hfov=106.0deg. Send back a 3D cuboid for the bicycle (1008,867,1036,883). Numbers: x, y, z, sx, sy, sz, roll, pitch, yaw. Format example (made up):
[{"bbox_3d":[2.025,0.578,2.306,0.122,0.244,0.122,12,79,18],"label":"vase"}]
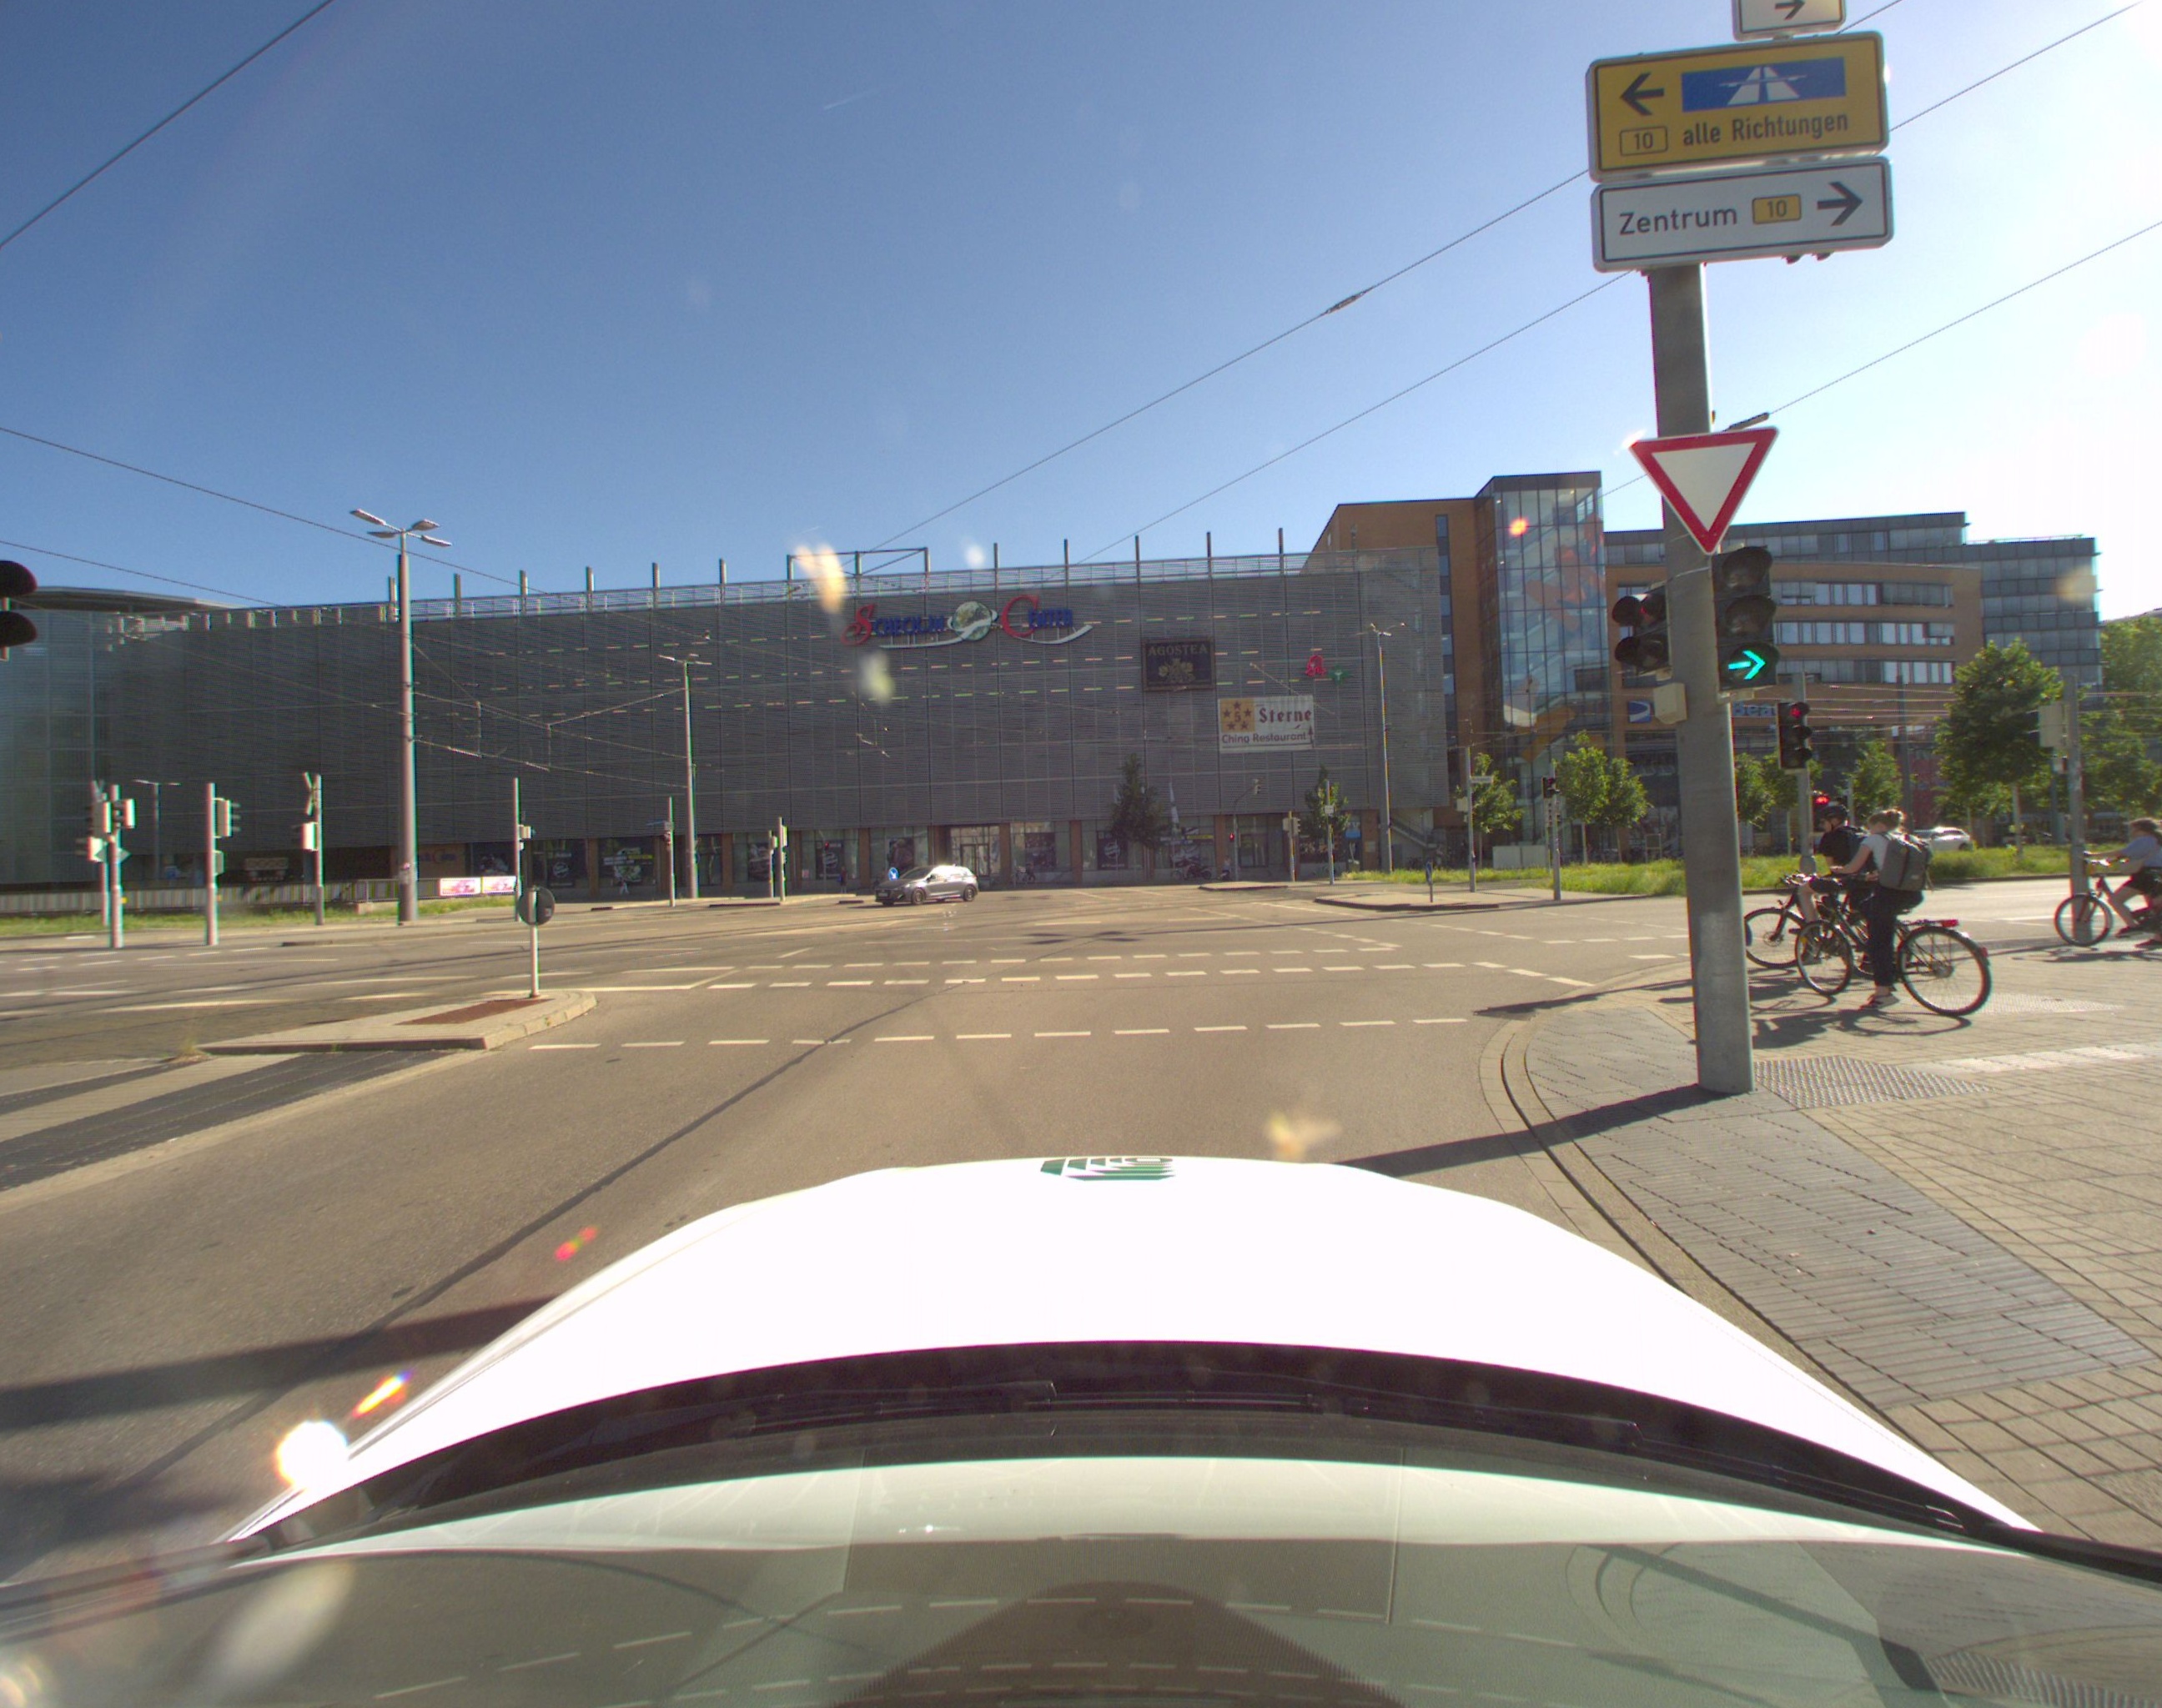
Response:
[{"bbox_3d":[-4.194,1.502,57.741,1.940,1.038,0.572,-2,-1,-3],"label":"bicycle"}]

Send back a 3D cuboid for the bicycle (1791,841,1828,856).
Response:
[{"bbox_3d":[55.371,-0.429,61.953,0.749,1.123,2.177,-2,0,-3],"label":"bicycle"}]

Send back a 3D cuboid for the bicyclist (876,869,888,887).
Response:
[{"bbox_3d":[-12.756,1.512,52.174,0.565,1.139,0.554,-1,-1,-31],"label":"bicyclist"}]

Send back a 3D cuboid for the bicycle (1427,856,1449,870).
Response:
[{"bbox_3d":[25.429,0.631,58.039,0.490,0.954,2.177,-2,0,-3],"label":"bicycle"}]

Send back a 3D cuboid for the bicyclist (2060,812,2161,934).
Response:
[{"bbox_3d":[12.652,0.219,9.823,0.586,1.404,0.827,-3,-2,1],"label":"bicyclist"}]

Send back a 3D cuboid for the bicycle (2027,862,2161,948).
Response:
[{"bbox_3d":[12.644,0.590,9.719,0.692,0.954,1.708,-3,-2,2],"label":"bicycle"}]

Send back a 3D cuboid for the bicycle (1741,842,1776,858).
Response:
[{"bbox_3d":[51.293,-0.294,61.708,0.749,1.123,2.177,-2,0,-3],"label":"bicycle"}]

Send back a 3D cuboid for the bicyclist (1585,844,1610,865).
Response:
[{"bbox_3d":[35.287,0.029,55.672,1.303,1.407,0.594,-2,-1,3],"label":"bicyclist"}]

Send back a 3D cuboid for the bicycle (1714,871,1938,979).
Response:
[{"bbox_3d":[8.109,0.736,9.010,0.603,1.038,1.893,-3,-2,-3],"label":"bicycle"}]

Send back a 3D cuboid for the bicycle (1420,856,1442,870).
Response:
[{"bbox_3d":[24.816,0.632,57.802,0.490,0.954,2.177,-2,0,-3],"label":"bicycle"}]

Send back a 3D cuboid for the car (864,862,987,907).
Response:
[{"bbox_3d":[-5.819,1.115,30.874,1.974,1.499,4.337,-3,-1,37],"label":"car"}]

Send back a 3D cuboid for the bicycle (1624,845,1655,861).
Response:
[{"bbox_3d":[42.602,-0.090,62.135,0.749,1.123,2.177,-2,0,-3],"label":"bicycle"}]

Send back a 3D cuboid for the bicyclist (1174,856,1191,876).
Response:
[{"bbox_3d":[6.863,0.786,54.898,1.032,1.318,0.682,-2,-1,1],"label":"bicyclist"}]

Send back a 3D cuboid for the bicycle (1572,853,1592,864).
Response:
[{"bbox_3d":[36.127,0.318,58.732,0.443,0.819,1.449,-2,0,-3],"label":"bicycle"}]

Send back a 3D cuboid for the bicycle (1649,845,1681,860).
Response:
[{"bbox_3d":[44.536,-0.117,62.148,0.749,1.123,2.177,-2,0,-3],"label":"bicycle"}]

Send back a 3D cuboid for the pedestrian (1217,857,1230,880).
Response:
[{"bbox_3d":[9.191,0.929,52.466,0.734,1.487,0.491,-2,-1,11],"label":"pedestrian"}]

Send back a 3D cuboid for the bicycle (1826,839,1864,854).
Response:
[{"bbox_3d":[58.121,-0.556,61.945,0.749,1.123,2.177,-2,0,-3],"label":"bicycle"}]

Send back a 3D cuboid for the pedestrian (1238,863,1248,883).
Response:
[{"bbox_3d":[10.240,1.181,51.508,0.449,1.229,0.395,-1,-1,-20],"label":"pedestrian"}]

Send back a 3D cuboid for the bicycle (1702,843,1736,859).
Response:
[{"bbox_3d":[48.404,-0.216,61.792,0.749,1.123,2.177,-2,0,-3],"label":"bicycle"}]

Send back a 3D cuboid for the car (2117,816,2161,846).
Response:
[{"bbox_3d":[77.575,-1.703,58.054,5.235,2.014,2.222,-2,-1,-8],"label":"car"}]

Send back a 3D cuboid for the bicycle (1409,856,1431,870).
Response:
[{"bbox_3d":[23.998,0.637,57.653,0.490,0.954,2.177,-2,0,-3],"label":"bicycle"}]

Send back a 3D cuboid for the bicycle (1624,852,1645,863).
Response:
[{"bbox_3d":[39.974,0.248,58.825,0.443,0.819,1.449,-2,0,-3],"label":"bicycle"}]

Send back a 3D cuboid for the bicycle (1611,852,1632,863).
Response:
[{"bbox_3d":[38.969,0.255,58.704,0.443,0.819,1.449,-2,0,-3],"label":"bicycle"}]

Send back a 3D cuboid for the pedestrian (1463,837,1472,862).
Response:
[{"bbox_3d":[29.209,-0.322,61.522,0.536,1.915,0.375,-1,-1,9],"label":"pedestrian"}]

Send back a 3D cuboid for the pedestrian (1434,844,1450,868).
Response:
[{"bbox_3d":[24.840,0.139,56.031,0.776,1.685,0.595,-2,-1,-12],"label":"pedestrian"}]

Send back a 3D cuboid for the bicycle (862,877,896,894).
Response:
[{"bbox_3d":[-12.940,2.029,52.122,2.028,0.985,0.554,-1,-1,-32],"label":"bicycle"}]

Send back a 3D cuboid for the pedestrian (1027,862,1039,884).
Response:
[{"bbox_3d":[-3.343,1.328,56.722,0.644,1.519,0.492,-2,-1,6],"label":"pedestrian"}]

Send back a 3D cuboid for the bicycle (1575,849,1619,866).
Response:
[{"bbox_3d":[35.292,0.239,55.669,2.550,1.010,0.598,-2,-1,2],"label":"bicycle"}]

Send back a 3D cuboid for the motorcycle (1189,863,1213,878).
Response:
[{"bbox_3d":[8.463,1.150,57.537,1.607,1.038,0.402,-2,-1,2],"label":"motorcycle"}]

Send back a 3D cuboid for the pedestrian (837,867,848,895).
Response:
[{"bbox_3d":[-15.306,1.738,52.362,0.625,1.751,0.585,-2,-1,-17],"label":"pedestrian"}]

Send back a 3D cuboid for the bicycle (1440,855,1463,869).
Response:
[{"bbox_3d":[26.416,0.592,58.080,0.490,0.954,2.177,-2,0,-3],"label":"bicycle"}]

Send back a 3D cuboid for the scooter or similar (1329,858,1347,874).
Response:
[{"bbox_3d":[18.486,0.863,58.648,1.196,1.103,0.277,-1,-1,3],"label":"scooter or similar"}]

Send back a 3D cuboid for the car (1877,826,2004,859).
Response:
[{"bbox_3d":[48.090,-0.620,45.630,5.518,1.652,1.811,-2,-1,-5],"label":"car"}]

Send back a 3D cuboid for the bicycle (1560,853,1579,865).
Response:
[{"bbox_3d":[35.214,0.358,58.716,0.443,0.819,1.449,-2,0,-3],"label":"bicycle"}]

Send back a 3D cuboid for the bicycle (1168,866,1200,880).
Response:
[{"bbox_3d":[6.917,1.283,54.885,2.034,0.867,0.682,-2,-1,0],"label":"bicycle"}]

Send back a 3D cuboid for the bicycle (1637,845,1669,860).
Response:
[{"bbox_3d":[43.593,-0.098,62.099,0.749,1.123,2.177,-2,0,-3],"label":"bicycle"}]

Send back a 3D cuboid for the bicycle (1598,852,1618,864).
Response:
[{"bbox_3d":[37.966,0.287,58.662,0.443,0.819,1.449,-2,0,-3],"label":"bicycle"}]

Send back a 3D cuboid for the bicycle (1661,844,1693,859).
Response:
[{"bbox_3d":[45.440,-0.171,62.153,0.749,1.123,2.177,-2,0,-3],"label":"bicycle"}]

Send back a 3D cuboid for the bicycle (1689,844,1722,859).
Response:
[{"bbox_3d":[47.399,-0.206,61.826,0.749,1.123,2.177,-2,0,-3],"label":"bicycle"}]

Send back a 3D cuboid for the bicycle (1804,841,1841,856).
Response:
[{"bbox_3d":[56.313,-0.438,61.896,0.749,1.123,2.177,-2,0,-3],"label":"bicycle"}]

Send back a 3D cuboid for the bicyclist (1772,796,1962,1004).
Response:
[{"bbox_3d":[6.772,0.374,7.079,0.591,1.654,1.004,-3,-1,1],"label":"bicyclist"}]

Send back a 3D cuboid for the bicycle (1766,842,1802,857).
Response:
[{"bbox_3d":[53.027,-0.354,61.470,0.749,1.123,2.177,-2,0,-3],"label":"bicycle"}]

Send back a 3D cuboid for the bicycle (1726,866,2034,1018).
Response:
[{"bbox_3d":[6.792,0.685,7.122,0.692,1.105,2.012,-3,-2,2],"label":"bicycle"}]

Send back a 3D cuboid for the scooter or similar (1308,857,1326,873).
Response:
[{"bbox_3d":[16.953,0.799,58.407,1.196,1.103,0.277,-1,-1,3],"label":"scooter or similar"}]

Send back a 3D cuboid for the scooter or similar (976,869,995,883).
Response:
[{"bbox_3d":[-6.283,1.446,53.670,1.219,0.851,0.301,-2,-1,-1],"label":"scooter or similar"}]

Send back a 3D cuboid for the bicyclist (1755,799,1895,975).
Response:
[{"bbox_3d":[8.099,0.356,8.906,0.547,1.798,0.905,-3,-2,-4],"label":"bicyclist"}]
